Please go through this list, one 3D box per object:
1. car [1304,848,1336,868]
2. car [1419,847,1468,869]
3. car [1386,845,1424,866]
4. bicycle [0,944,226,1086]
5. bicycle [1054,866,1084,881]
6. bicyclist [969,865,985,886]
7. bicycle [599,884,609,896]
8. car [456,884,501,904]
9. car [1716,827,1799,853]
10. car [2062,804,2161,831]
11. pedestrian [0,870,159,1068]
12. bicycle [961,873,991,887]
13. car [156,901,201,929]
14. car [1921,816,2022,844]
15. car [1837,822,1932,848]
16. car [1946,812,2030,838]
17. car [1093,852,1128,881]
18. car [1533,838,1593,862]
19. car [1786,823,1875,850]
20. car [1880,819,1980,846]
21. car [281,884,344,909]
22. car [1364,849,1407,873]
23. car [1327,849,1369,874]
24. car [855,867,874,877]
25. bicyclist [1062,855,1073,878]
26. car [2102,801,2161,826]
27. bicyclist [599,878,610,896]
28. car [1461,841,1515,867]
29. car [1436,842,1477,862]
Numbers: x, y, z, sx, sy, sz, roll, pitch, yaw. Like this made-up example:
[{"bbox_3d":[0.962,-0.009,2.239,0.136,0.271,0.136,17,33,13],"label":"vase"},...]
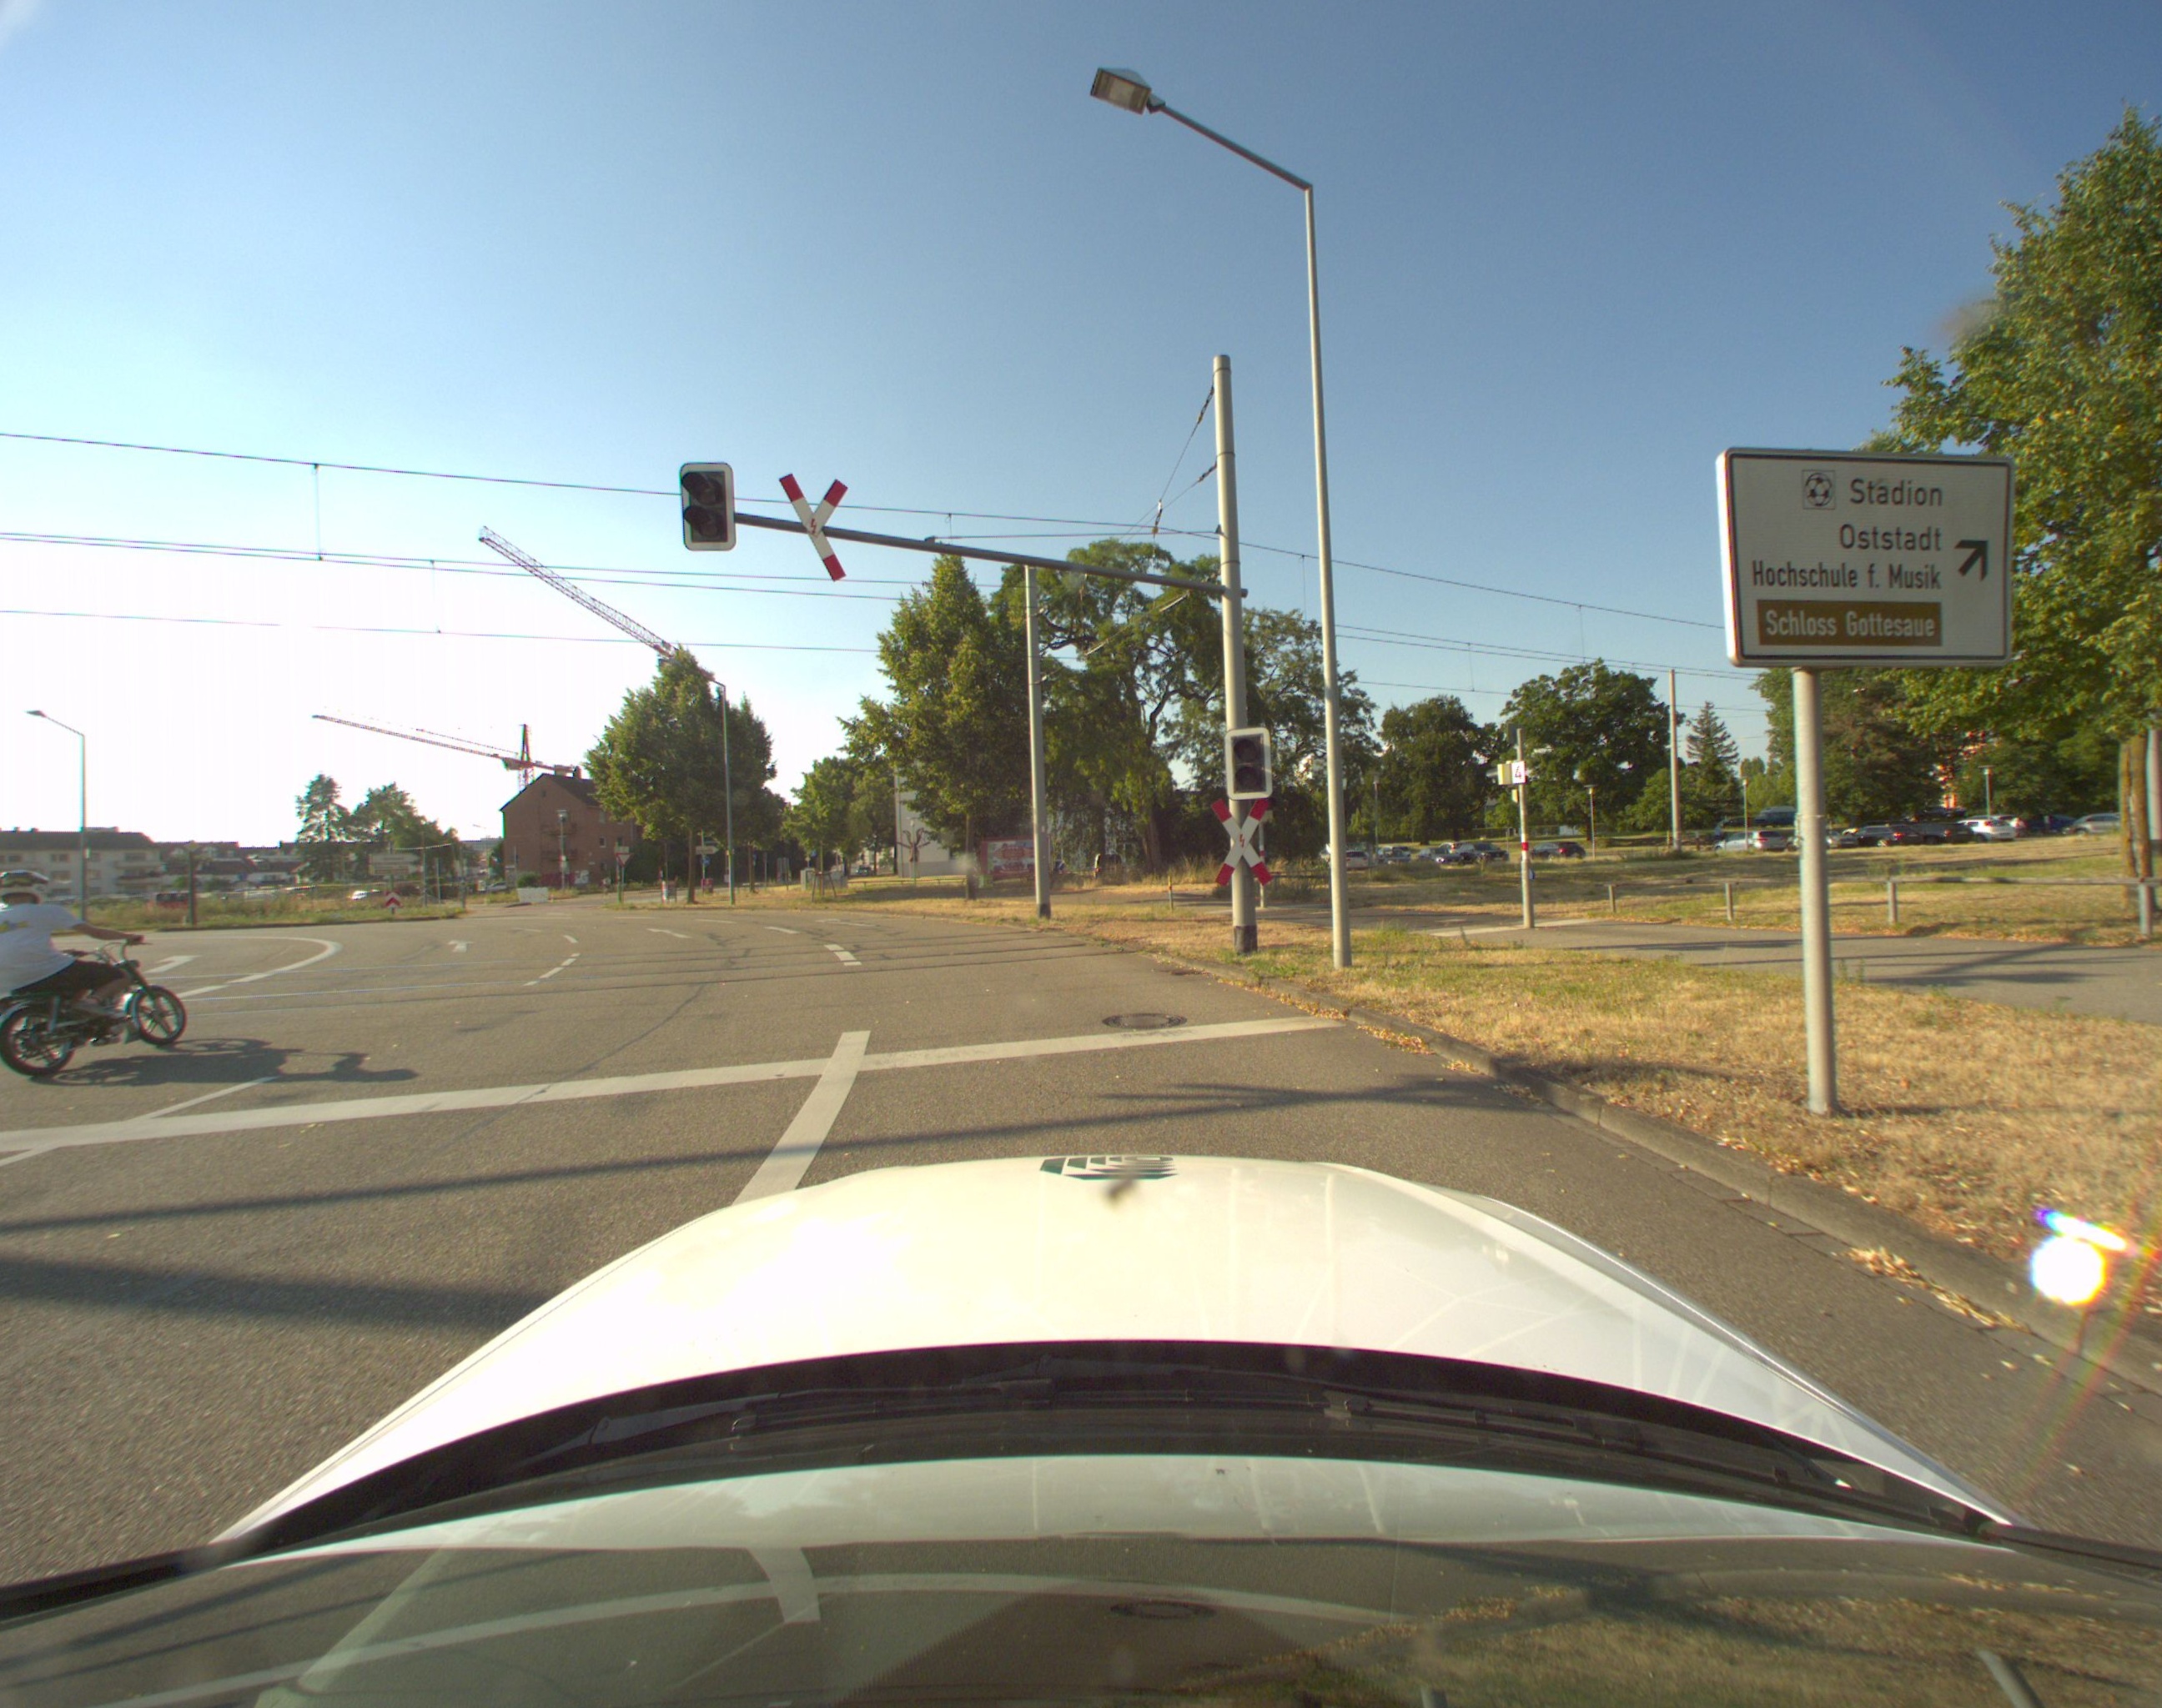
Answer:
[{"bbox_3d":[18.115,0.285,61.859,1.593,1.402,3.975,-3,-1,6],"label":"car"},{"bbox_3d":[22.212,0.233,50.032,1.593,1.221,3.975,-3,-1,6],"label":"car"},{"bbox_3d":[24.207,0.131,60.987,1.593,1.402,3.975,-3,-1,6],"label":"car"},{"bbox_3d":[-8.474,1.323,7.049,0.478,0.876,1.849,-2,0,-11],"label":"bicycle"},{"bbox_3d":[-0.810,1.301,55.512,1.983,0.918,0.429,-2,0,-4],"label":"bicycle"},{"bbox_3d":[-7.149,1.486,56.001,0.902,1.396,0.521,-2,0,-28],"label":"bicyclist"},{"bbox_3d":[-40.841,3.098,69.748,0.600,0.963,2.087,-2,-1,-26],"label":"bicycle"},{"bbox_3d":[-68.256,4.566,92.290,3.801,2.014,1.669,-3,-1,-4],"label":"car"},{"bbox_3d":[41.152,-0.825,49.667,1.814,1.403,4.002,-3,-1,2],"label":"car"},{"bbox_3d":[62.447,-2.180,49.086,1.814,1.403,4.002,-3,-1,2],"label":"car"},{"bbox_3d":[-8.521,0.914,6.816,0.657,1.519,0.850,-2,0,-14],"label":"pedestrian"},{"bbox_3d":[-7.213,1.797,55.968,1.999,0.825,0.426,-3,0,-28],"label":"bicycle"},{"bbox_3d":[-65.189,4.367,58.823,3.948,1.854,1.938,-2,0,39],"label":"car"},{"bbox_3d":[53.772,-1.421,49.290,1.814,1.403,4.002,-3,-1,2],"label":"car"},{"bbox_3d":[48.438,-1.119,49.224,1.814,1.403,4.002,-3,-1,2],"label":"car"},{"bbox_3d":[67.189,-2.096,60.430,1.814,1.672,4.002,-3,-1,2],"label":"car"},{"bbox_3d":[1.851,0.730,49.858,1.762,1.618,3.975,-3,-1,6],"label":"car"},{"bbox_3d":[28.994,-0.236,49.090,1.593,1.310,3.975,-3,-1,6],"label":"car"},{"bbox_3d":[45.730,-1.031,49.796,1.814,1.403,4.002,-3,-1,2],"label":"car"},{"bbox_3d":[50.841,-1.258,48.887,1.814,1.403,4.002,-3,-1,2],"label":"car"},{"bbox_3d":[-67.379,3.716,71.434,3.801,2.014,1.669,-3,-1,-4],"label":"car"},{"bbox_3d":[18.989,0.425,50.935,1.593,1.402,3.975,-3,-1,6],"label":"car"},{"bbox_3d":[16.396,0.455,50.140,1.593,1.402,3.975,-3,-1,6],"label":"car"},{"bbox_3d":[-32.166,2.655,121.154,1.575,1.442,3.558,-3,0,6],"label":"car"},{"bbox_3d":[-0.929,0.834,55.503,0.621,1.511,0.418,-2,0,-5],"label":"bicyclist"},{"bbox_3d":[64.855,-2.489,49.035,1.814,1.403,4.002,-3,-1,2],"label":"car"},{"bbox_3d":[-40.956,2.834,69.966,0.661,1.562,0.886,-2,-1,-26],"label":"bicyclist"},{"bbox_3d":[24.627,0.016,49.459,1.593,1.402,3.975,-3,-1,6],"label":"car"},{"bbox_3d":[28.638,-0.166,62.193,1.593,1.402,3.975,-3,-1,6],"label":"car"}]
